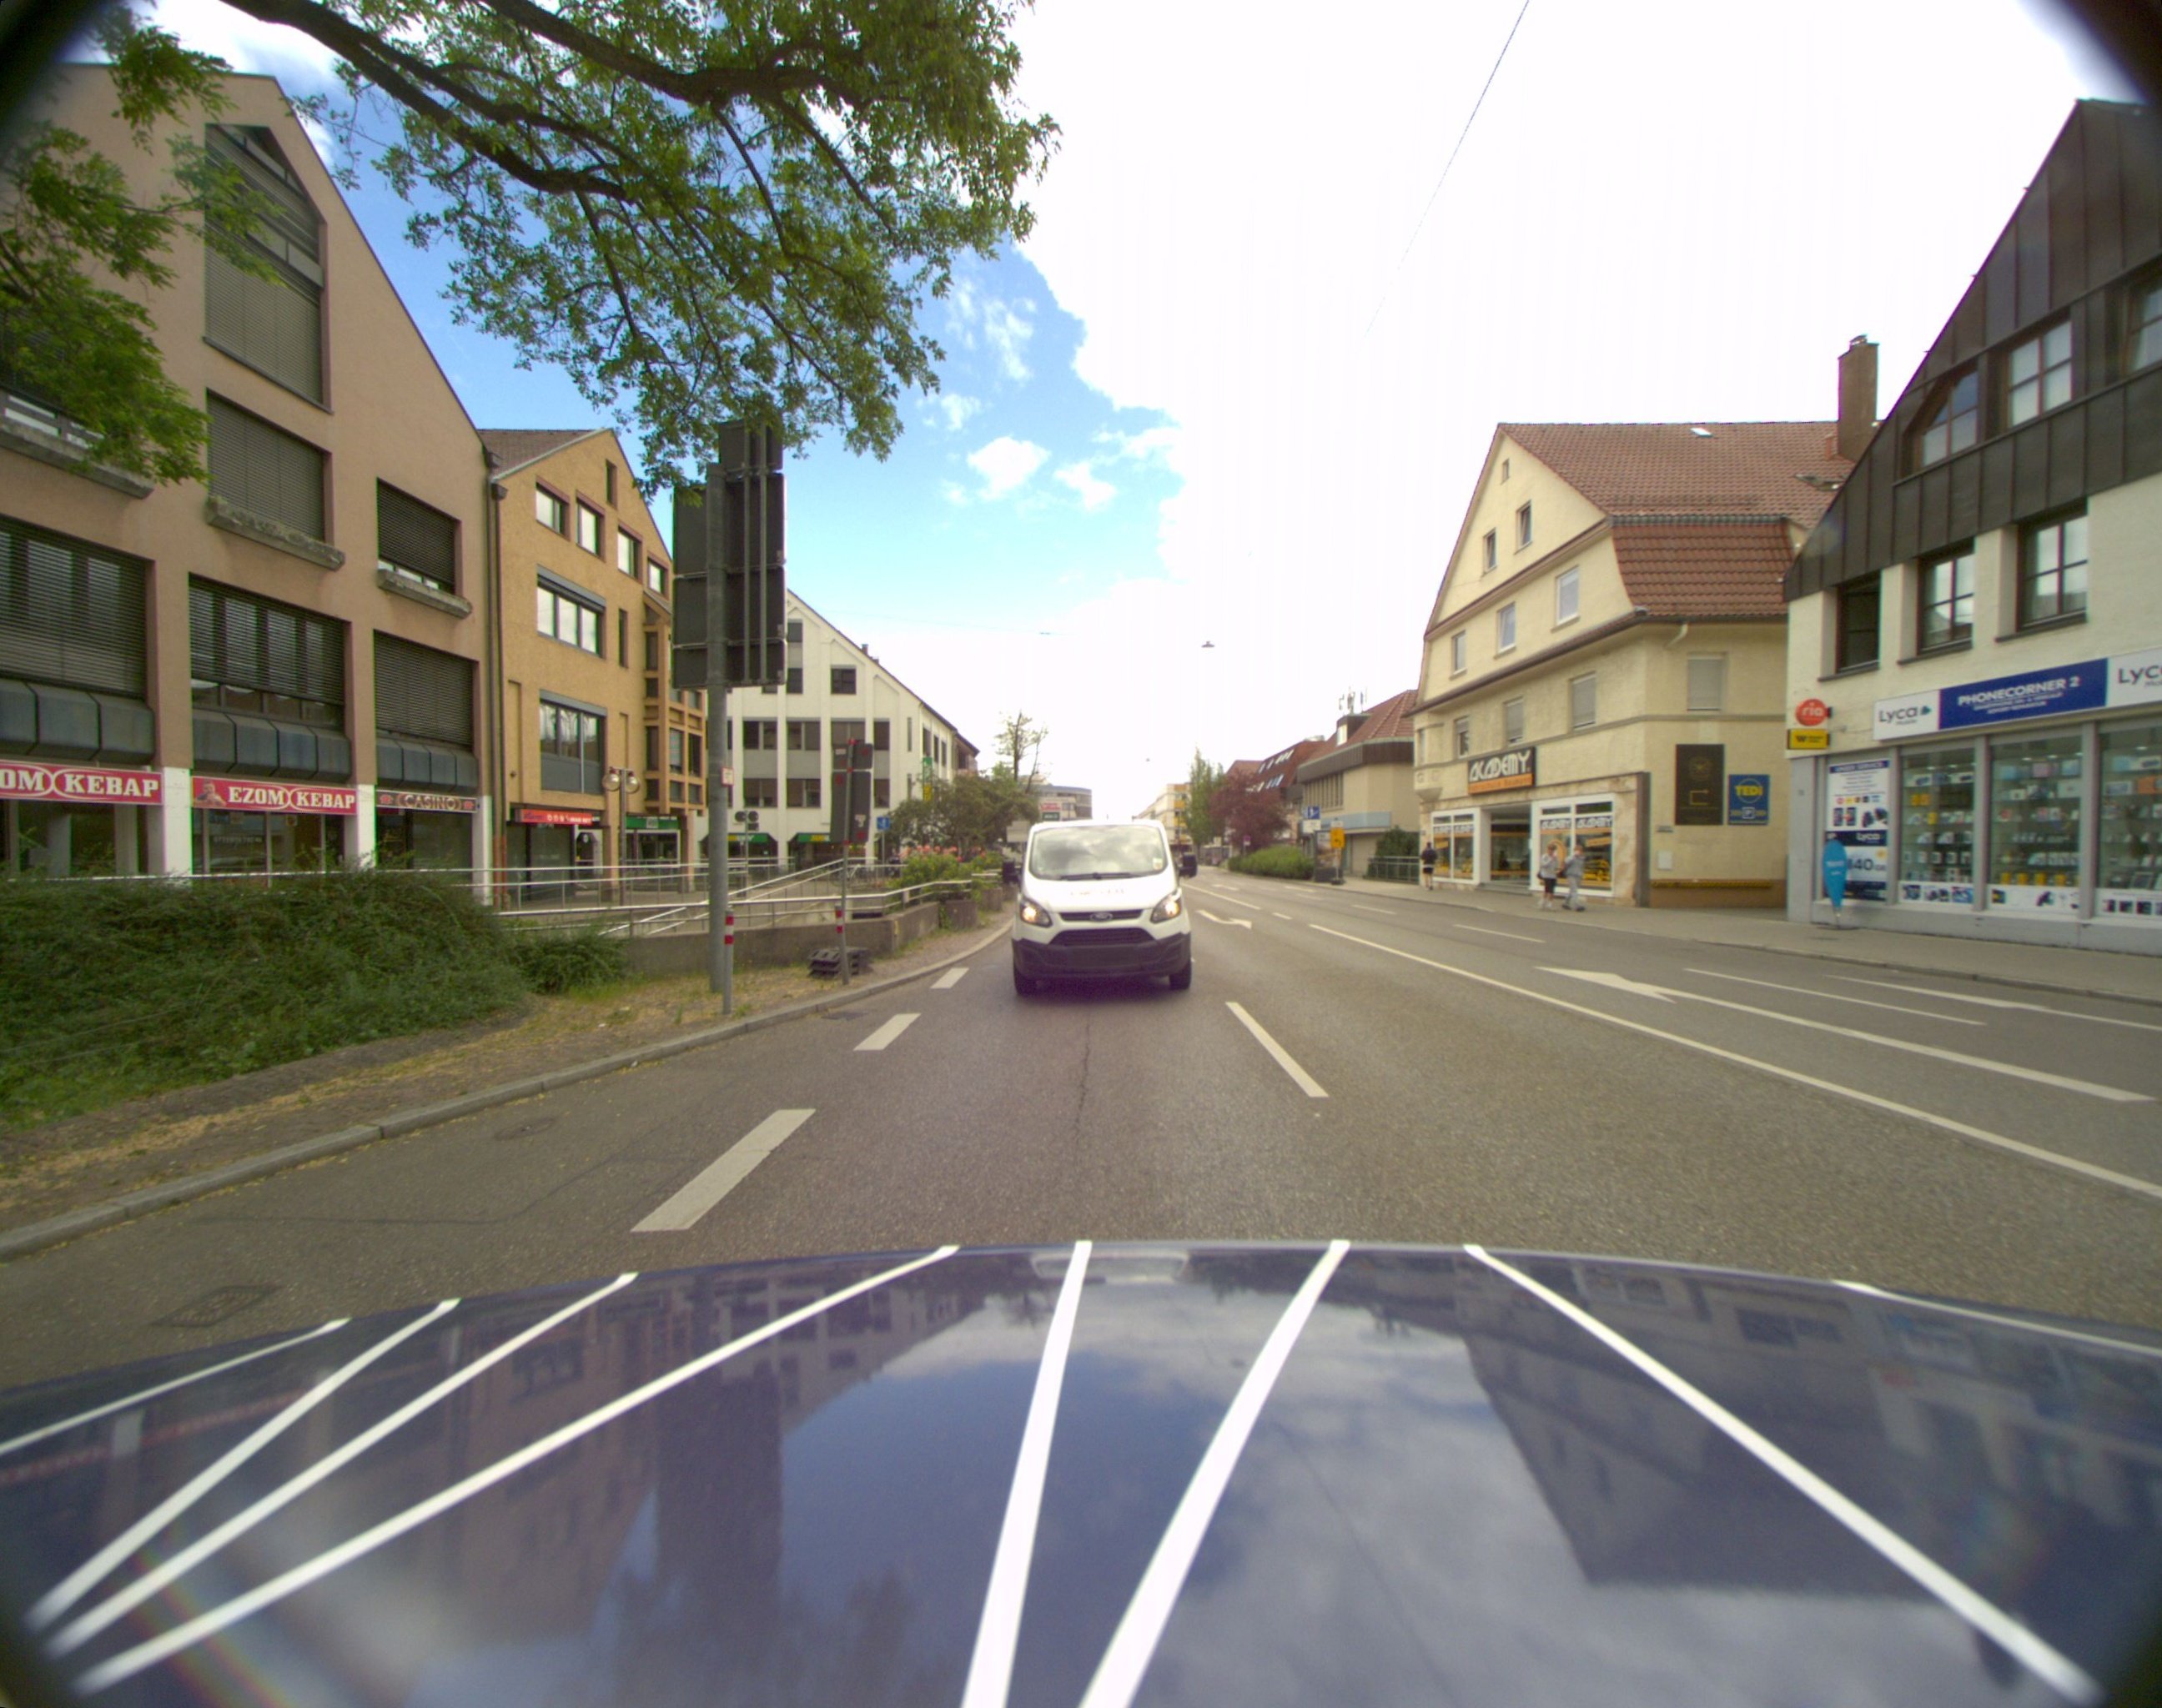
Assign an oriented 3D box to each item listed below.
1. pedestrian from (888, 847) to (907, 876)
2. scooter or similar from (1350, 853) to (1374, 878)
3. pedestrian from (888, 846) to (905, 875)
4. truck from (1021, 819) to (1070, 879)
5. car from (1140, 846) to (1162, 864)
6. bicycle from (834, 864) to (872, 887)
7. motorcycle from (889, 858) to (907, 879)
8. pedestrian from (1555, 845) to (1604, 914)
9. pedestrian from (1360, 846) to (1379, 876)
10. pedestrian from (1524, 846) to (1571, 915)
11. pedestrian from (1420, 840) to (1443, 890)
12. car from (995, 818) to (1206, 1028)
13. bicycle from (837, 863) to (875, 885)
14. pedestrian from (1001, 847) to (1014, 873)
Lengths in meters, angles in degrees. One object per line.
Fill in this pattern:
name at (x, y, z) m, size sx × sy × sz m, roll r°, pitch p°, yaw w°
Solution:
pedestrian at (-11.156, 0.426, 46.203) m, size 0.888 × 1.747 × 0.942 m, roll -1°, pitch 1°, yaw -27°
scooter or similar at (15.975, 0.652, 43.252) m, size 1.193 × 1.385 × 0.538 m, roll -1°, pitch 1°, yaw -14°
pedestrian at (-11.940, 0.411, 49.242) m, size 0.871 × 1.812 × 0.785 m, roll -2°, pitch 1°, yaw -3°
truck at (-2.160, -0.370, 49.050) m, size 2.446 × 3.464 × 8.347 m, roll -2°, pitch 1°, yaw 2°
car at (7.412, 0.078, 81.201) m, size 1.957 × 1.898 × 4.321 m, roll 0°, pitch 0°, yaw 0°
bicycle at (-10.138, 0.938, 33.867) m, size 1.594 × 0.996 × 0.414 m, roll -1°, pitch 1°, yaw -12°
motorcycle at (-9.606, 0.767, 39.937) m, size 0.464 × 1.062 × 1.995 m, roll -1°, pitch 0°, yaw 1°
pedestrian at (12.423, 0.626, 18.963) m, size 0.689 × 1.660 × 0.709 m, roll -3°, pitch 1°, yaw 1°
pedestrian at (17.283, 0.414, 45.474) m, size 0.835 × 1.749 × 0.837 m, roll 0°, pitch 1°, yaw 1°
pedestrian at (11.668, 0.653, 19.029) m, size 0.689 × 1.680 × 0.742 m, roll -2°, pitch 1°, yaw 1°
pedestrian at (13.266, 0.415, 28.770) m, size 0.551 × 1.878 × 0.592 m, roll -2°, pitch 1°, yaw -3°
car at (0.216, 0.657, 9.923) m, size 1.964 × 1.948 × 5.164 m, roll -2°, pitch 0°, yaw 1°
bicycle at (-10.249, 0.912, 34.652) m, size 1.594 × 0.963 × 0.461 m, roll -1°, pitch 1°, yaw -13°
pedestrian at (-4.423, 0.350, 45.589) m, size 0.653 × 1.568 × 0.684 m, roll -1°, pitch 1°, yaw 1°
